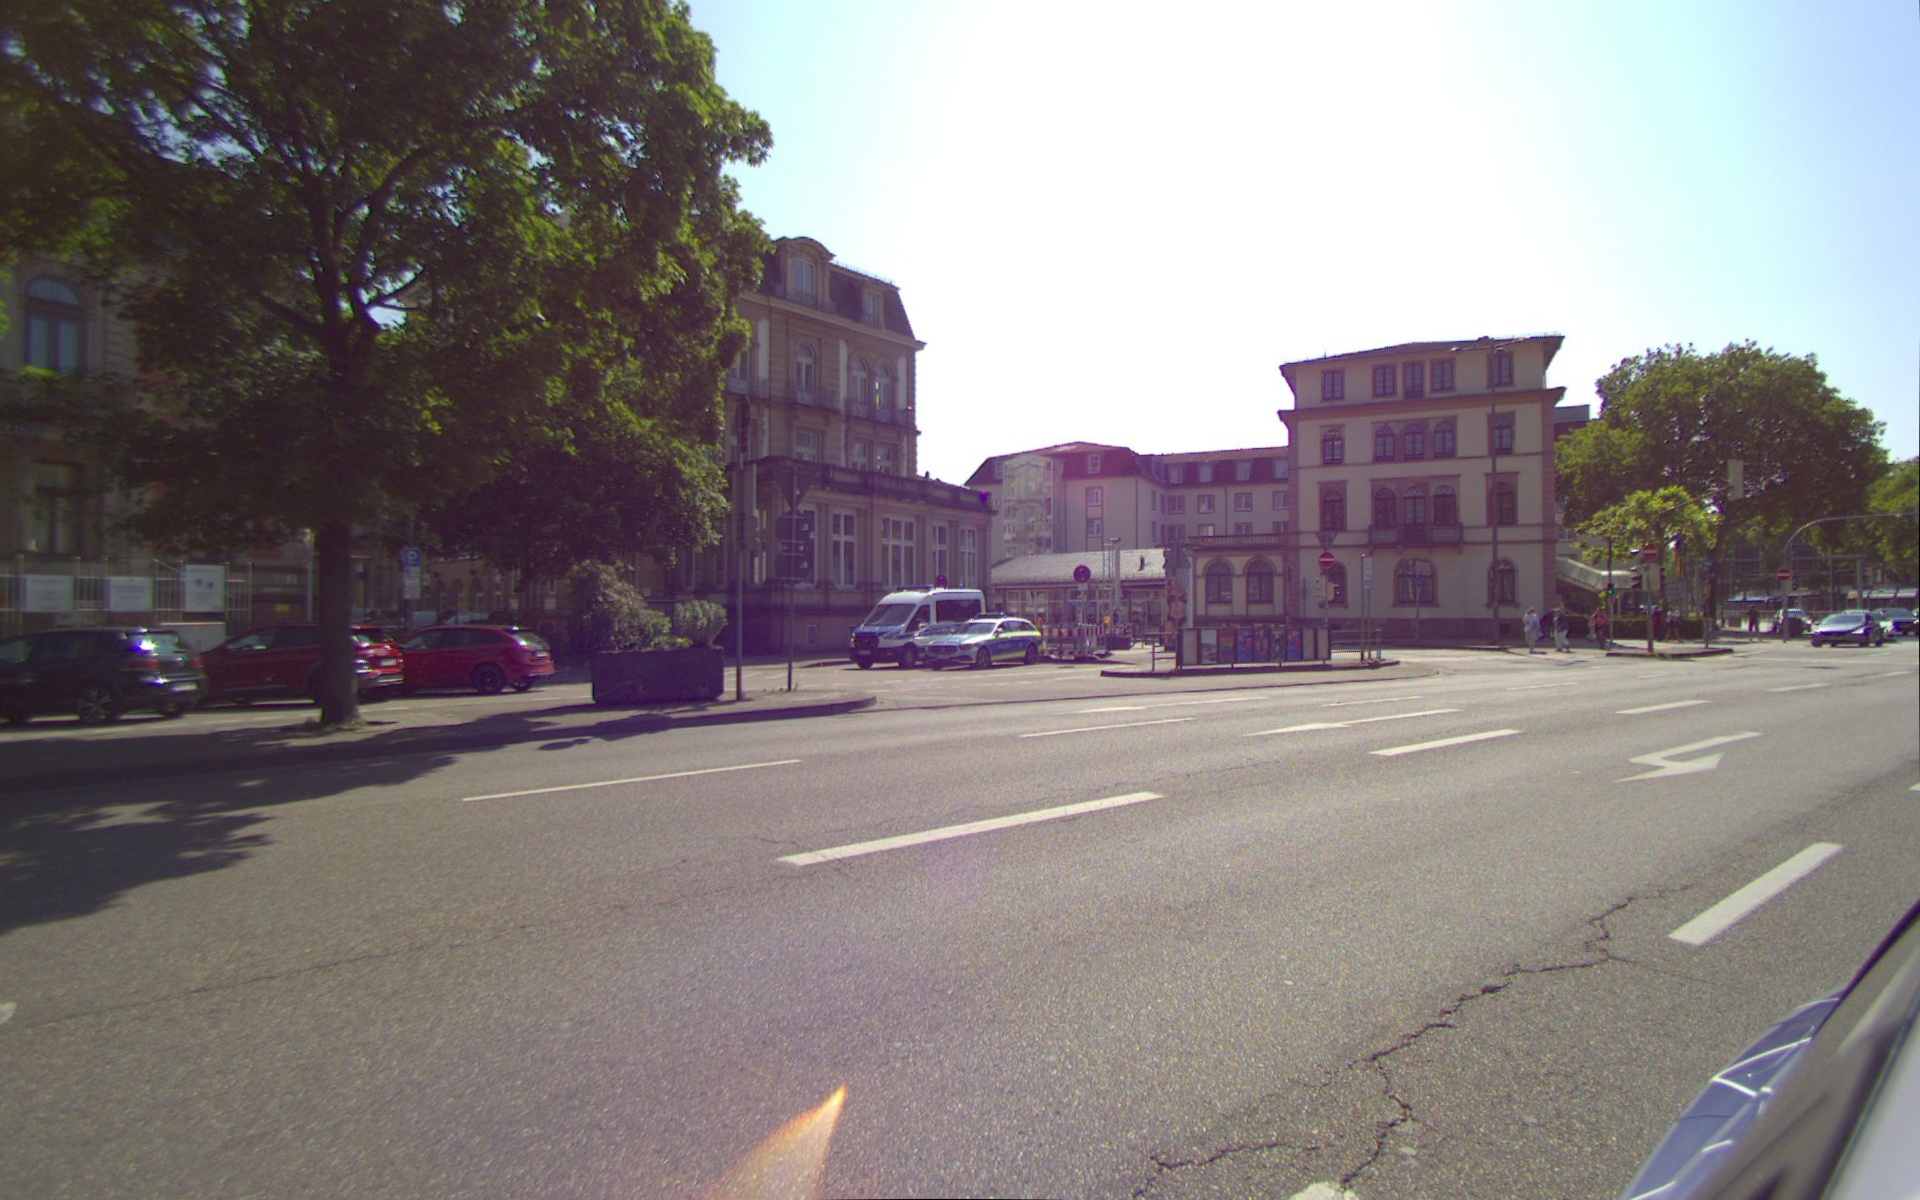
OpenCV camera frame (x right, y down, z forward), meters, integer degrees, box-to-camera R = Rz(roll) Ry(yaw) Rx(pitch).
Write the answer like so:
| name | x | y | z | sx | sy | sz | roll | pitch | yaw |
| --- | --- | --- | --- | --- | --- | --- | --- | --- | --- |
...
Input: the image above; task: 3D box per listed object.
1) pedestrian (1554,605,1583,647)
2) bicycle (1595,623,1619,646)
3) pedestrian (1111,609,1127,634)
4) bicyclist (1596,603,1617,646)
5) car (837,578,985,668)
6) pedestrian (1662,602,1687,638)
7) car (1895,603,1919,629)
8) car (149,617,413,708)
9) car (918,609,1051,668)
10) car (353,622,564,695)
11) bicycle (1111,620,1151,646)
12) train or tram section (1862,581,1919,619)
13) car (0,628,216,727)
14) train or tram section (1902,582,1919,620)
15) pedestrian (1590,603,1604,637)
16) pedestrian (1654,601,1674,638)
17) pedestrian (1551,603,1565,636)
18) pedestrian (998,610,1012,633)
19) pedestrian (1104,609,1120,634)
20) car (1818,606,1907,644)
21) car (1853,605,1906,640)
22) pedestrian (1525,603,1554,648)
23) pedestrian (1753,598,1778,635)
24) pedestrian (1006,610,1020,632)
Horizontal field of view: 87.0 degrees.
| name | x | y | z | sx | sy | sz | roll | pitch | yaw |
| --- | --- | --- | --- | --- | --- | --- | --- | --- | --- |
| pedestrian | 23.212 | 0.992 | 38.615 | 0.816 | 1.592 | 0.771 | 1 | -2 | -45 |
| bicycle | 25.029 | 1.324 | 39.159 | 0.590 | 0.866 | 1.720 | -1 | -1 | 39 |
| pedestrian | 10.355 | 1.418 | 65.902 | 0.707 | 1.624 | 0.723 | 1 | -2 | -42 |
| bicyclist | 25.063 | 0.947 | 39.222 | 0.590 | 1.627 | 0.674 | -1 | -2 | 39 |
| car | -1.460 | 0.709 | 32.472 | 1.987 | 2.637 | 5.251 | -1 | -1 | 35 |
| pedestrian | 34.552 | 0.968 | 48.938 | 0.834 | 1.717 | 0.739 | -1 | -1 | 24 |
| car | 54.467 | 0.901 | 57.647 | 1.786 | 1.470 | 3.912 | 1 | 0 | 43 |
| car | -12.678 | 1.135 | 19.087 | 3.802 | 1.595 | 1.750 | 0 | -1 | -2 |
| car | 0.842 | 1.112 | 31.053 | 1.809 | 1.647 | 4.820 | -1 | -1 | 34 |
| car | -10.522 | 1.199 | 21.431 | 3.629 | 1.436 | 1.749 | 0 | -1 | -2 |
| bicycle | 7.842 | 1.501 | 46.427 | 1.814 | 1.113 | 0.497 | 0 | 0 | 43 |
| train or tram section | 87.574 | 0.028 | 94.187 | 2.705 | 3.309 | 8.665 | -1 | -1 | 24 |
| car | -14.178 | 1.182 | 15.929 | 3.746 | 1.435 | 1.606 | 0 | -1 | -2 |
| train or tram section | 84.068 | 0.085 | 86.253 | 2.705 | 3.309 | 8.665 | -1 | -1 | 24 |
| pedestrian | 31.545 | 0.988 | 50.104 | 0.530 | 1.670 | 0.574 | -1 | -1 | 28 |
| pedestrian | 34.657 | 0.965 | 49.817 | 0.720 | 1.828 | 0.645 | -1 | -1 | 32 |
| pedestrian | 30.775 | 1.011 | 52.102 | 0.530 | 1.670 | 0.667 | -1 | -1 | 28 |
| pedestrian | 3.247 | 1.522 | 72.507 | 0.705 | 1.624 | 0.724 | 1 | -1 | -33 |
| pedestrian | 9.816 | 1.397 | 65.439 | 0.707 | 1.624 | 0.723 | 1 | -2 | -42 |
| car | 38.006 | 1.030 | 42.599 | 3.896 | 1.470 | 1.793 | 0 | 0 | -33 |
| car | 43.752 | 1.033 | 48.138 | 1.786 | 1.550 | 3.911 | 1 | 0 | 43 |
| pedestrian | 22.178 | 0.974 | 38.720 | 0.751 | 1.681 | 0.816 | -1 | -2 | 44 |
| pedestrian | 40.222 | 0.819 | 50.551 | 0.715 | 1.869 | 0.591 | 0 | -1 | 2 |
| pedestrian | 3.866 | 1.511 | 73.826 | 0.705 | 1.624 | 0.724 | 1 | -2 | -34 |
